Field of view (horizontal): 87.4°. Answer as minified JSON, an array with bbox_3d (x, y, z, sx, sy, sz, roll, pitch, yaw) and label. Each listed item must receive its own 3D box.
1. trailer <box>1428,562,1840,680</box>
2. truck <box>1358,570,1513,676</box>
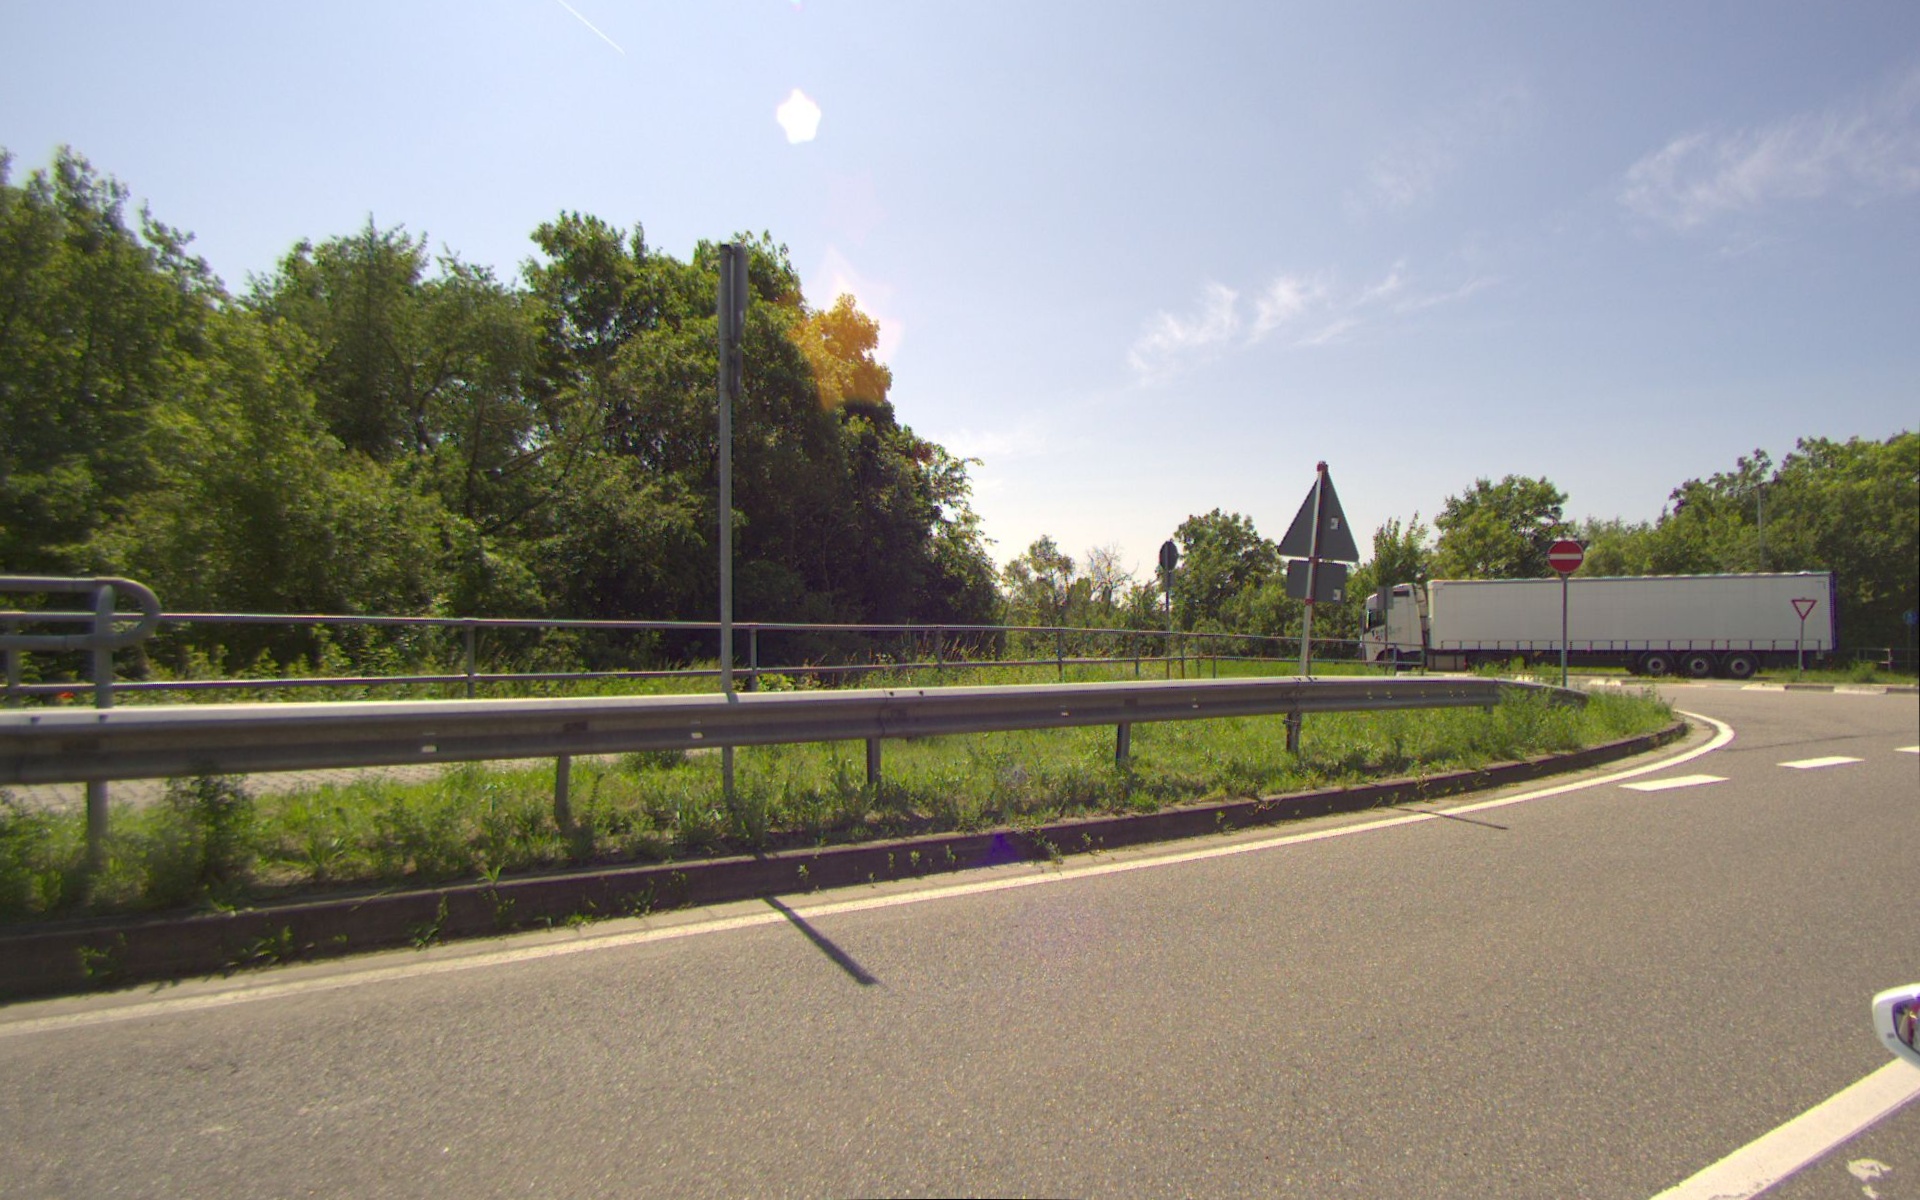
[{"bbox_3d":[26.682,0.888,40.945,13.523,4.332,2.998,-1,0,22],"label":"trailer"},{"bbox_3d":[20.614,0.980,43.612,5.824,4.332,2.992,-1,0,31],"label":"truck"}]
